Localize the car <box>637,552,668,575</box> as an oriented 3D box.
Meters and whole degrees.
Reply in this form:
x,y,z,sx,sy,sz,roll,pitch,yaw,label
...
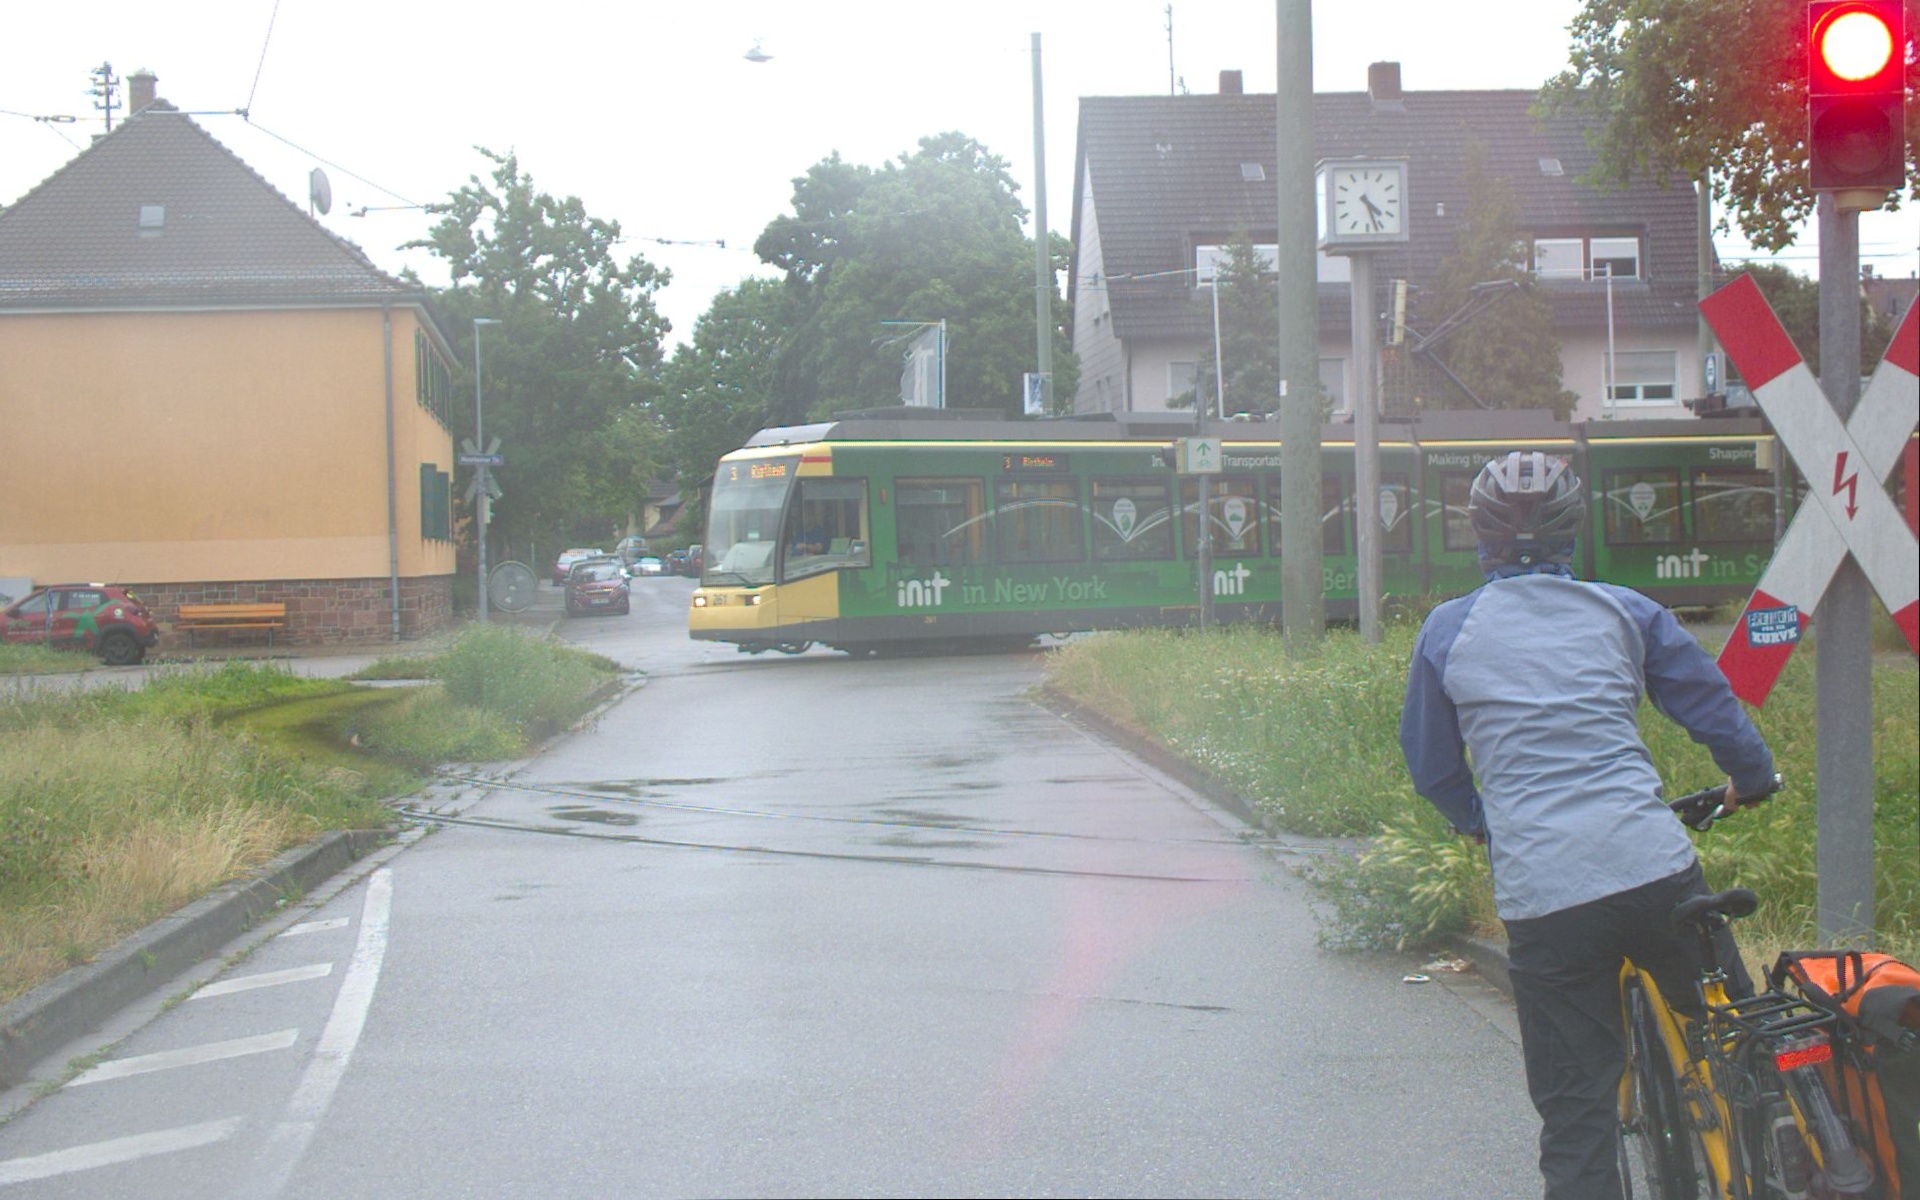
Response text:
x,y,z,sx,sy,sz,roll,pitch,yaw,label
-20.423,-2.407,228.443,1.804,1.456,4.000,1,0,-3,car

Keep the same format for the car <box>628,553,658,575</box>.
x,y,z,sx,sy,sz,roll,pitch,yaw,label
-21.530,-2.459,233.735,1.804,1.456,4.000,1,0,-3,car

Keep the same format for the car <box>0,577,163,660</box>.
x,y,z,sx,sy,sz,roll,pitch,yaw,label
-16.658,0.312,62.600,3.986,1.451,1.834,1,0,-6,car

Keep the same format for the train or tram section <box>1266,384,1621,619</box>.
x,y,z,sx,sy,sz,roll,pitch,yaw,label
7.812,-1.626,55.446,4.972,3.540,2.770,-3,3,-32,train or tram section

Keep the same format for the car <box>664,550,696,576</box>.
x,y,z,sx,sy,sz,roll,pitch,yaw,label
-17.213,-2.294,211.259,1.804,1.558,4.000,1,0,-3,car

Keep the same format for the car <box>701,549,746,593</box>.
x,y,z,sx,sy,sz,roll,pitch,yaw,label
-10.130,-1.255,147.417,1.804,1.805,4.000,-1,0,-2,car

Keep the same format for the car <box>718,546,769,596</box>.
x,y,z,sx,sy,sz,roll,pitch,yaw,label
-8.042,-1.090,127.932,1.804,1.805,4.000,1,0,-3,car

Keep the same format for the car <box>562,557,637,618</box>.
x,y,z,sx,sy,sz,roll,pitch,yaw,label
-10.021,-0.355,95.713,1.804,1.645,4.000,1,0,-3,car

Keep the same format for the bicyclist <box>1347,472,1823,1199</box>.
x,y,z,sx,sy,sz,roll,pitch,yaw,label
1.100,0.597,6.218,0.667,1.620,0.853,1,0,-2,bicyclist

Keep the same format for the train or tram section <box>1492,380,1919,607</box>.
x,y,z,sx,sy,sz,roll,pitch,yaw,label
15.648,-1.860,57.759,13.086,3.541,2.770,-2,1,-12,train or tram section

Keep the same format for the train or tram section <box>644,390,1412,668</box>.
x,y,z,sx,sy,sz,roll,pitch,yaw,label
1.295,-1.195,50.546,12.168,3.540,2.769,-4,3,-38,train or tram section

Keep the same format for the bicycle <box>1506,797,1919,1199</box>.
x,y,z,sx,sy,sz,roll,pitch,yaw,label
1.354,0.919,6.072,0.446,1.001,1.728,-1,1,-2,bicycle

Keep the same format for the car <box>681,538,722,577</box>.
x,y,z,sx,sy,sz,roll,pitch,yaw,label
-12.362,-2.024,164.644,1.804,1.805,4.000,1,0,-3,car
